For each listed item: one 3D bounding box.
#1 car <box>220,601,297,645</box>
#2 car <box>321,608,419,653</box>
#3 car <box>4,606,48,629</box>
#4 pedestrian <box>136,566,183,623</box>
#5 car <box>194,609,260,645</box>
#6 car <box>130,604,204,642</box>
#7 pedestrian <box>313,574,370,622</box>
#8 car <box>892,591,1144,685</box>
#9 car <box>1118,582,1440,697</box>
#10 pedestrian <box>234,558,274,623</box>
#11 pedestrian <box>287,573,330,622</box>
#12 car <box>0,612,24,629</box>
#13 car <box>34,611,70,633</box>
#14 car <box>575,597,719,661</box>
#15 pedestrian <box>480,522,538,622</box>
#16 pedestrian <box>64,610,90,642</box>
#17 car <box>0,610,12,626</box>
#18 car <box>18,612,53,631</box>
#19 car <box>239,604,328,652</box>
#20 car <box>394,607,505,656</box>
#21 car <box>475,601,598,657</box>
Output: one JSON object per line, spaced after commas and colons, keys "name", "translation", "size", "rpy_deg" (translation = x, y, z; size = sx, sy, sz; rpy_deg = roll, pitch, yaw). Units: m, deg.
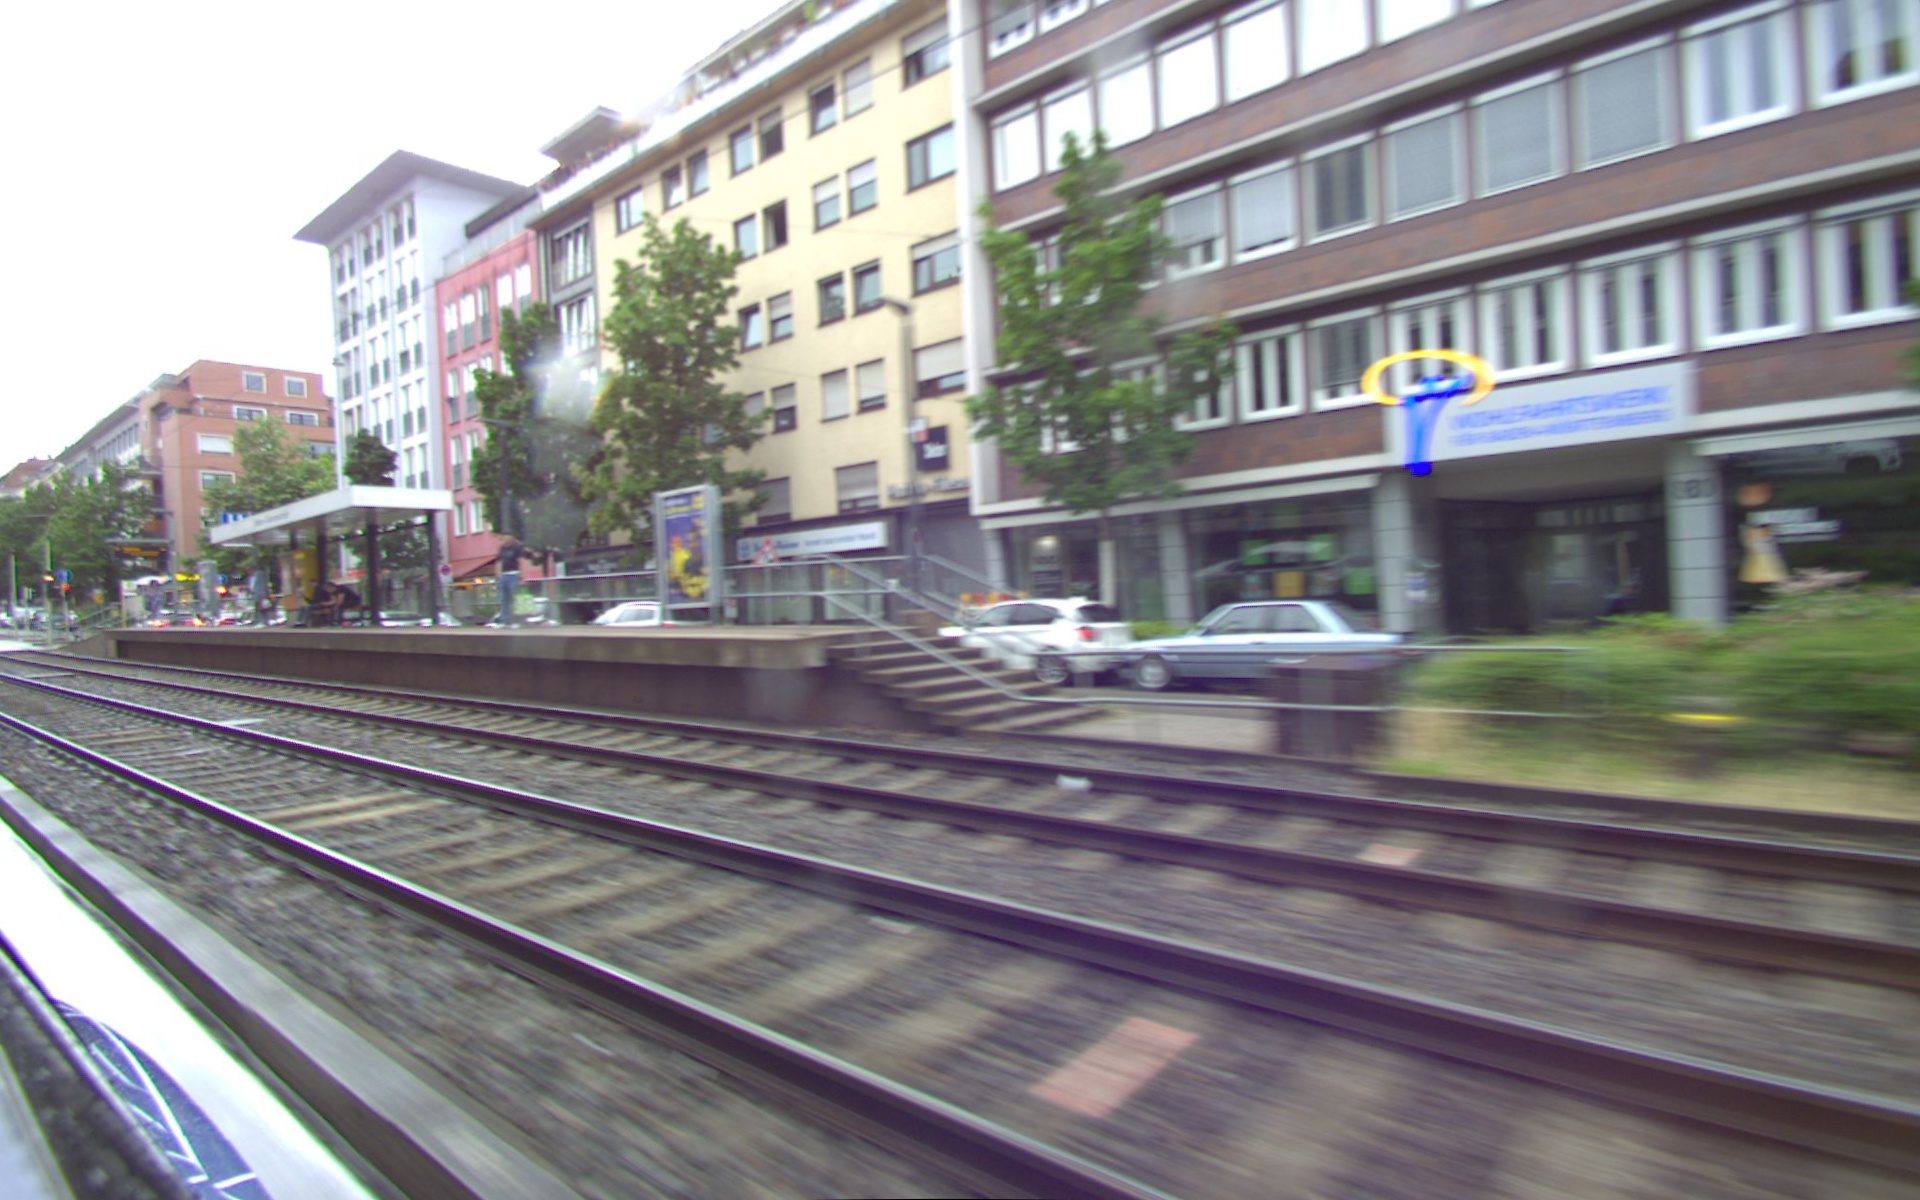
{"name": "car", "translation": [-31.862, 1.016, 45.933], "size": [4.315, 1.872, 1.691], "rpy_deg": [-1, 0, 38]}
{"name": "car", "translation": [-20.535, 1.039, 35.175], "size": [3.973, 1.447, 1.553], "rpy_deg": [-1, 0, 38]}
{"name": "car", "translation": [-81.318, 1.488, 88.077], "size": [5.248, 1.858, 1.890], "rpy_deg": [0, 1, 37]}
{"name": "pedestrian", "translation": [-29.513, -0.208, 37.294], "size": [1.382, 2.029, 1.105], "rpy_deg": [0, 0, 40]}
{"name": "car", "translation": [-35.765, 1.318, 49.339], "size": [4.551, 1.624, 1.708], "rpy_deg": [-2, 0, 42]}
{"name": "car", "translation": [-36.430, 1.033, 46.434], "size": [5.018, 1.590, 1.788], "rpy_deg": [-1, 0, 41]}
{"name": "pedestrian", "translation": [-15.159, -0.053, 24.804], "size": [0.846, 1.132, 0.886], "rpy_deg": [-1, 0, 30]}
{"name": "car", "translation": [0.929, 0.611, 17.587], "size": [4.232, 1.447, 1.553], "rpy_deg": [-1, 0, 38]}
{"name": "car", "translation": [4.507, 0.517, 14.638], "size": [4.171, 1.447, 1.553], "rpy_deg": [-1, 0, 38]}
{"name": "pedestrian", "translation": [-19.096, -0.238, 27.370], "size": [0.849, 1.724, 0.649], "rpy_deg": [-1, 0, 38]}
{"name": "pedestrian", "translation": [-17.080, -0.060, 26.526], "size": [0.883, 1.258, 0.686], "rpy_deg": [-1, 0, 38]}
{"name": "car", "translation": [-88.409, 1.862, 93.772], "size": [4.524, 1.473, 1.676], "rpy_deg": [0, 1, 38]}
{"name": "car", "translation": [-71.673, 1.690, 79.861], "size": [4.369, 1.636, 1.622], "rpy_deg": [0, 1, 41]}
{"name": "car", "translation": [-7.804, 0.692, 25.121], "size": [3.730, 1.447, 1.553], "rpy_deg": [-1, 0, 38]}
{"name": "pedestrian", "translation": [-8.439, -0.513, 18.954], "size": [0.849, 1.815, 0.649], "rpy_deg": [-1, 0, 38]}
{"name": "pedestrian", "translation": [-49.409, 1.459, 56.640], "size": [0.983, 1.709, 0.813], "rpy_deg": [-1, 2, 32]}
{"name": "car", "translation": [-94.380, 1.750, 99.211], "size": [3.800, 1.550, 1.622], "rpy_deg": [0, 1, 40]}
{"name": "car", "translation": [-76.757, 1.767, 84.024], "size": [4.369, 1.548, 1.622], "rpy_deg": [0, 1, 41]}
{"name": "car", "translation": [-28.222, 1.125, 42.176], "size": [4.375, 1.872, 1.785], "rpy_deg": [-1, 0, 38]}
{"name": "car", "translation": [-16.492, 0.980, 32.640], "size": [3.973, 1.447, 1.657], "rpy_deg": [-1, 0, 38]}
{"name": "car", "translation": [-11.926, 0.791, 28.434], "size": [3.730, 1.447, 1.553], "rpy_deg": [-1, 0, 38]}
